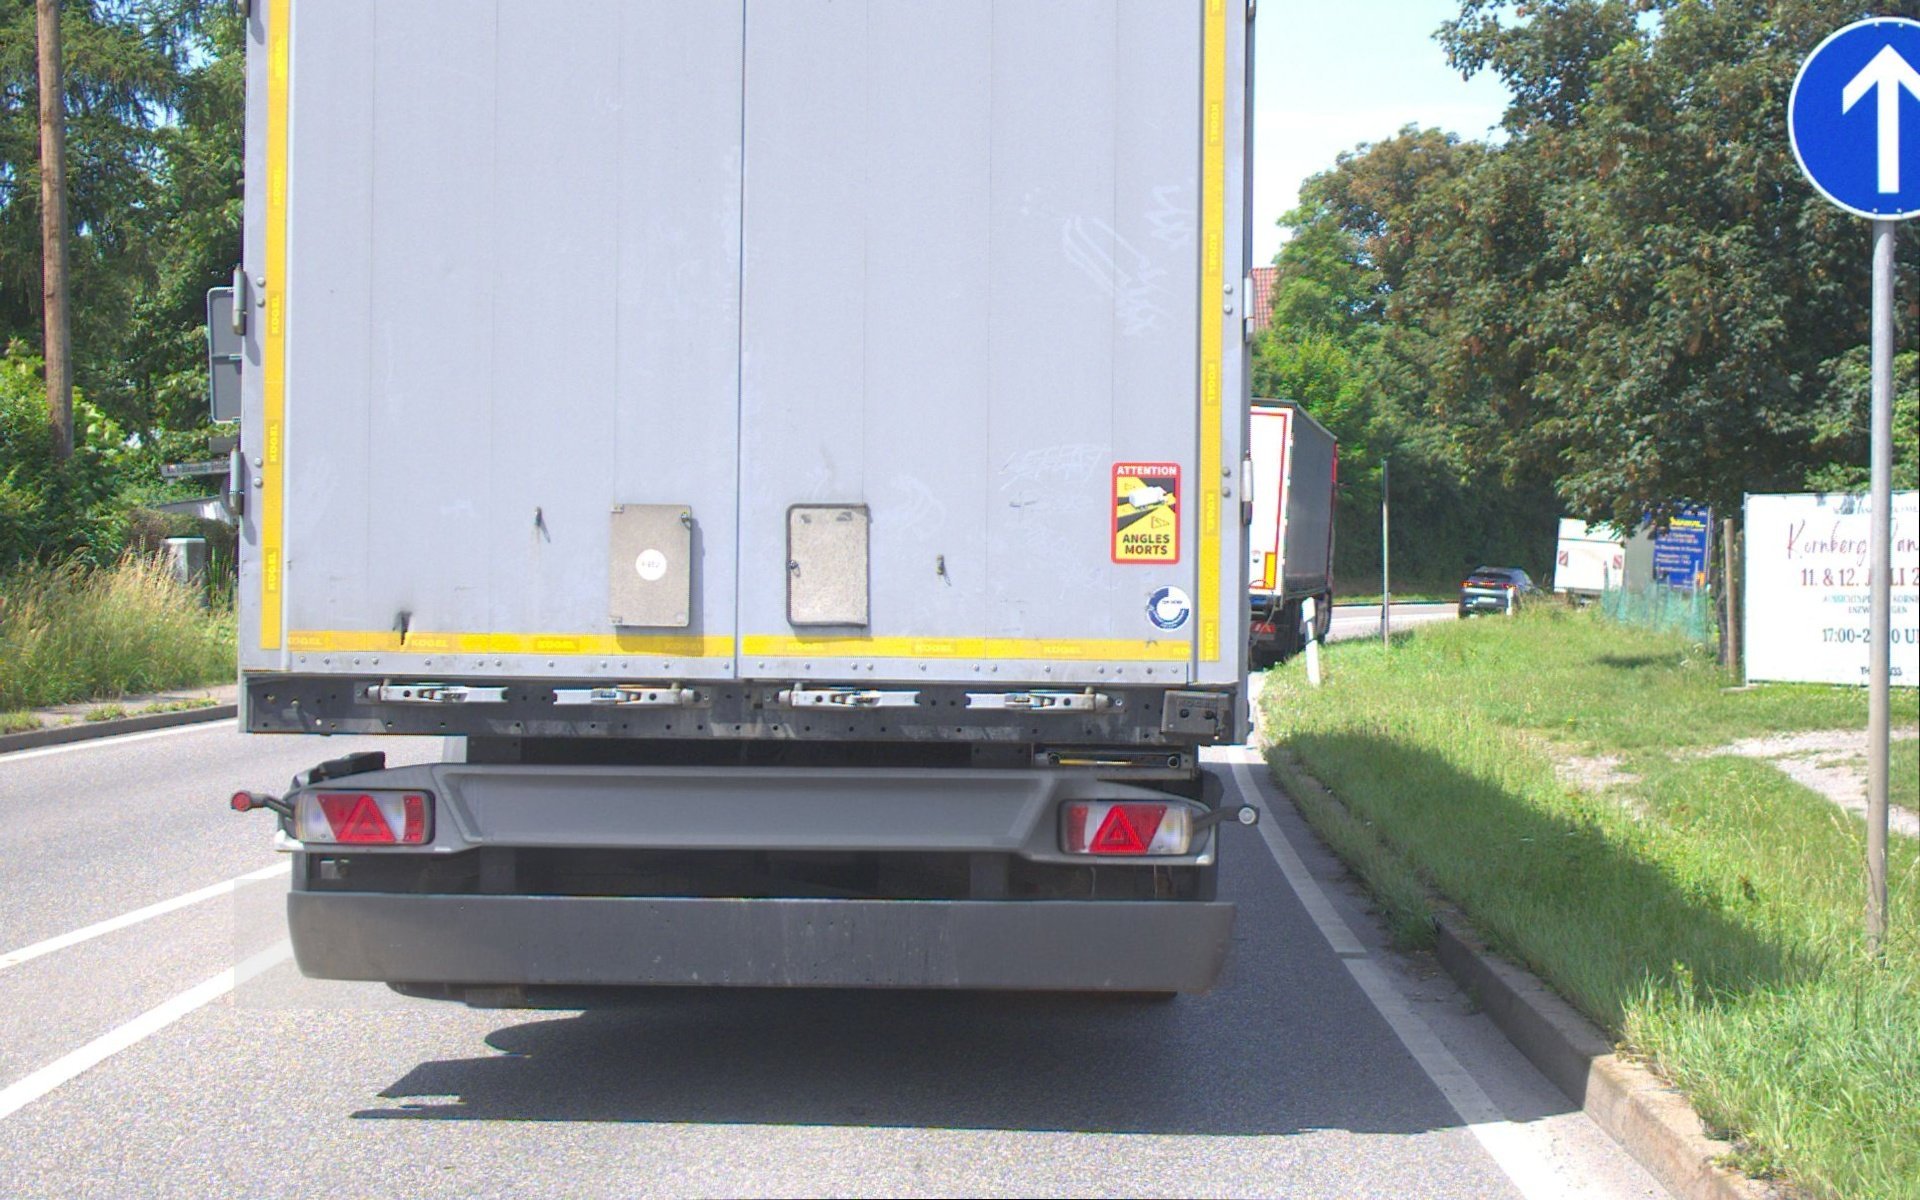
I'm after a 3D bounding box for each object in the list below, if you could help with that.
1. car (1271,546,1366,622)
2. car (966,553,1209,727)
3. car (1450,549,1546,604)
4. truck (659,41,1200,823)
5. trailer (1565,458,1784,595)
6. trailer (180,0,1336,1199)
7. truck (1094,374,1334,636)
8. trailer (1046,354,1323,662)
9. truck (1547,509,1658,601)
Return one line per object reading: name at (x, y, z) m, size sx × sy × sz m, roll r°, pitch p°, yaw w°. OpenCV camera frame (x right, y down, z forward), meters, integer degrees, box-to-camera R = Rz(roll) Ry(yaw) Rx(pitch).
car at (9.186, -0.432, 87.762) m, size 1.994 × 1.831 × 3.998 m, roll 1°, pitch 2°, yaw 12°
car at (1.287, 0.332, 32.886) m, size 1.994 × 1.525 × 3.999 m, roll 1°, pitch 1°, yaw 7°
car at (15.256, -0.674, 97.351) m, size 1.843 × 1.481 × 3.996 m, roll 1°, pitch 2°, yaw 22°
truck at (0.036, -0.979, 21.435) m, size 2.746 × 4.151 × 6.142 m, roll 1°, pitch 1°, yaw 5°
trailer at (26.031, -2.697, 124.260) m, size 5.185 × 4.612 × 15.879 m, roll 1°, pitch 2°, yaw 21°
trailer at (-0.295, -0.807, 14.361) m, size 2.787 × 4.191 × 12.111 m, roll 1°, pitch 1°, yaw 2°
truck at (4.814, -1.722, 63.623) m, size 3.938 × 4.559 × 7.150 m, roll 0°, pitch 1°, yaw 8°
trailer at (3.954, -1.511, 56.865) m, size 3.892 × 4.505 × 12.711 m, roll 0°, pitch 1°, yaw 7°
truck at (20.341, -1.463, 108.633) m, size 2.423 × 2.828 × 5.406 m, roll 1°, pitch 2°, yaw 22°
